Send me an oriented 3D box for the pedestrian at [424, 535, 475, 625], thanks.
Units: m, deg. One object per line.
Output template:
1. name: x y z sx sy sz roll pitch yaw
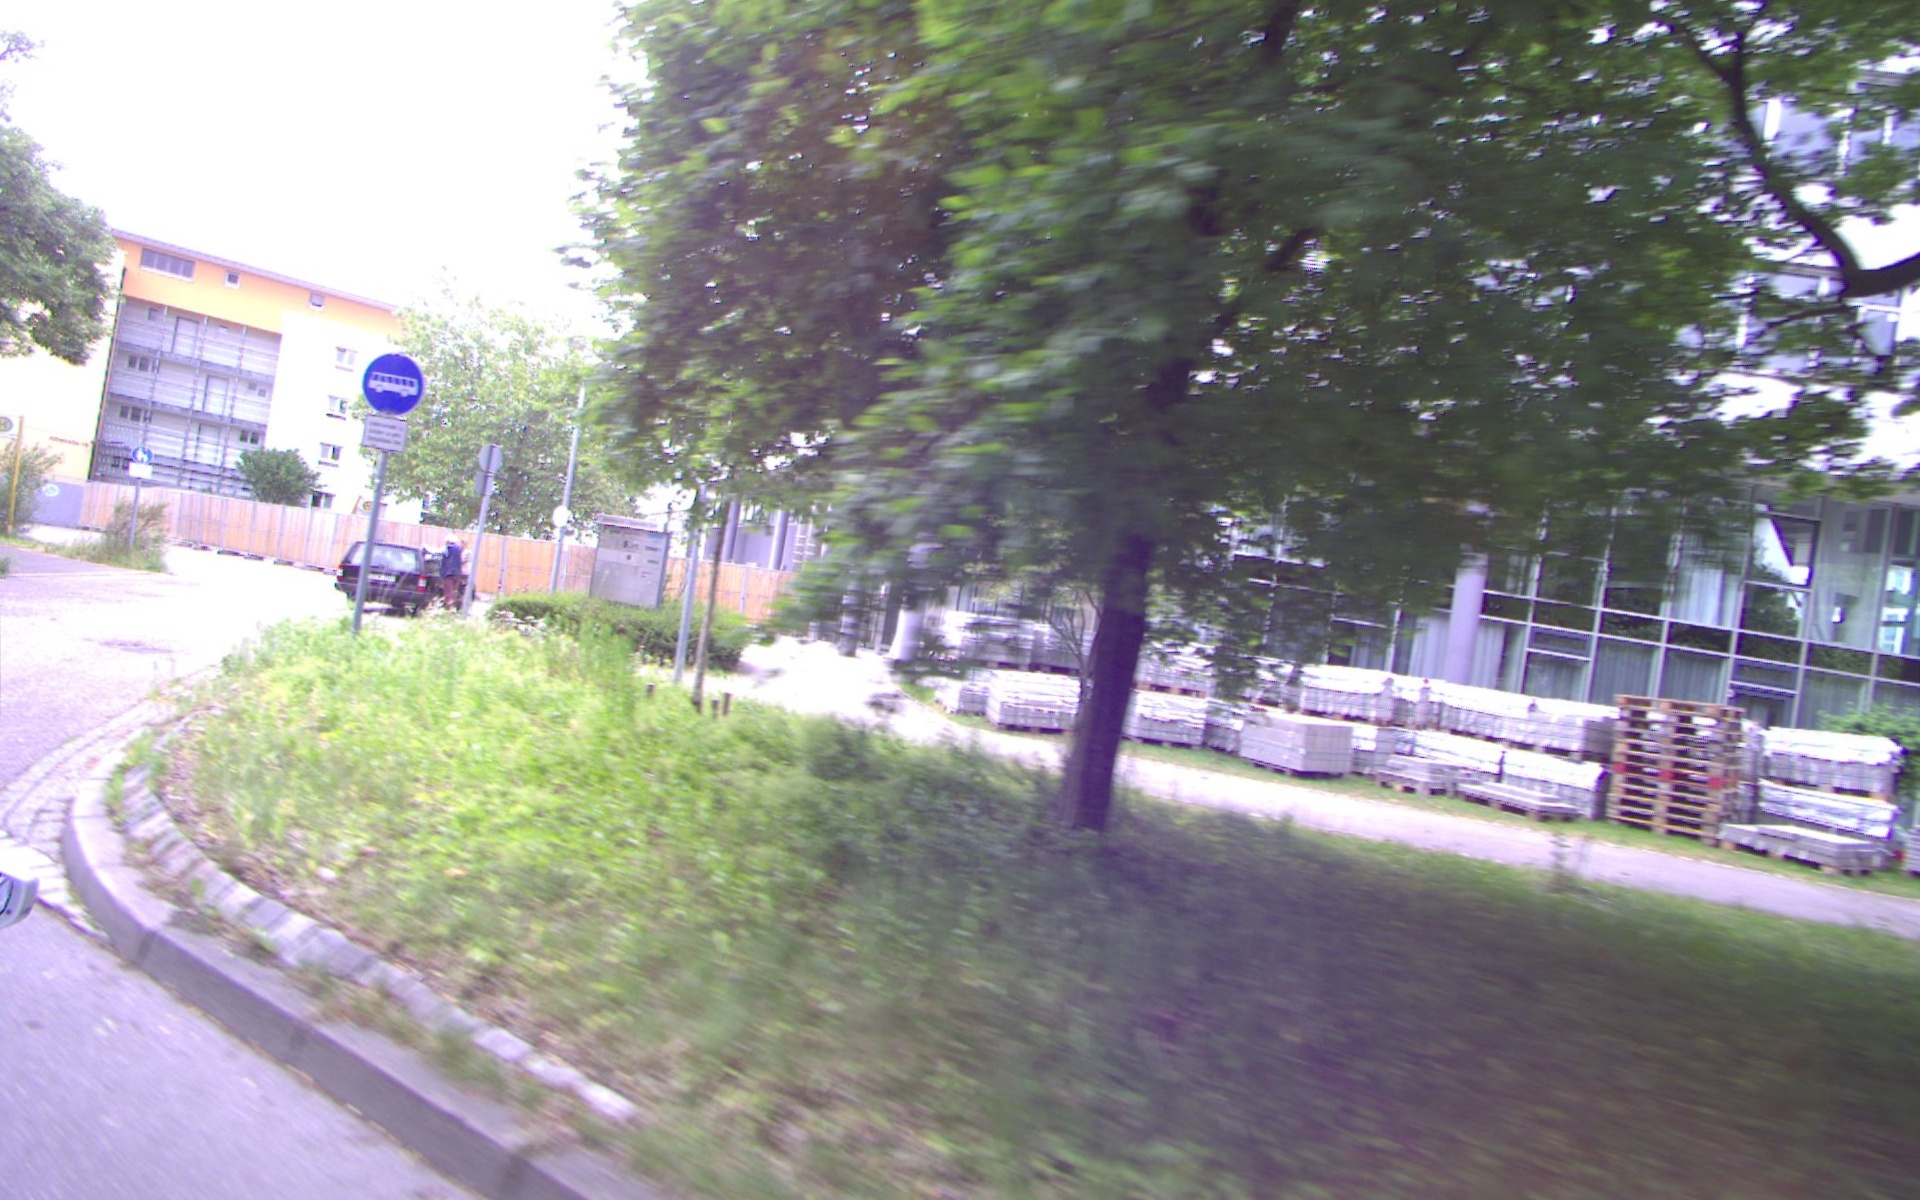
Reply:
1. pedestrian: -10.596 -0.409 20.874 0.574 1.777 0.474 10 3 1

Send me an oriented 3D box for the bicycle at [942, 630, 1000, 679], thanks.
1. bicycle: 0.290 1.439 26.458 1.387 1.084 0.390 9 -2 -30

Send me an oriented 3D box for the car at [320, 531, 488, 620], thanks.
1. car: -12.071 -0.506 22.227 1.841 1.535 4.732 7 -1 -12

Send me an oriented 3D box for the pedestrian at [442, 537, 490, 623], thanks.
1. pedestrian: -10.591 -0.423 21.579 0.527 1.747 0.498 10 3 1

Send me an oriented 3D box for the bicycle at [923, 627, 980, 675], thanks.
1. bicycle: -0.216 1.371 26.790 1.387 1.084 0.390 9 -2 -30
